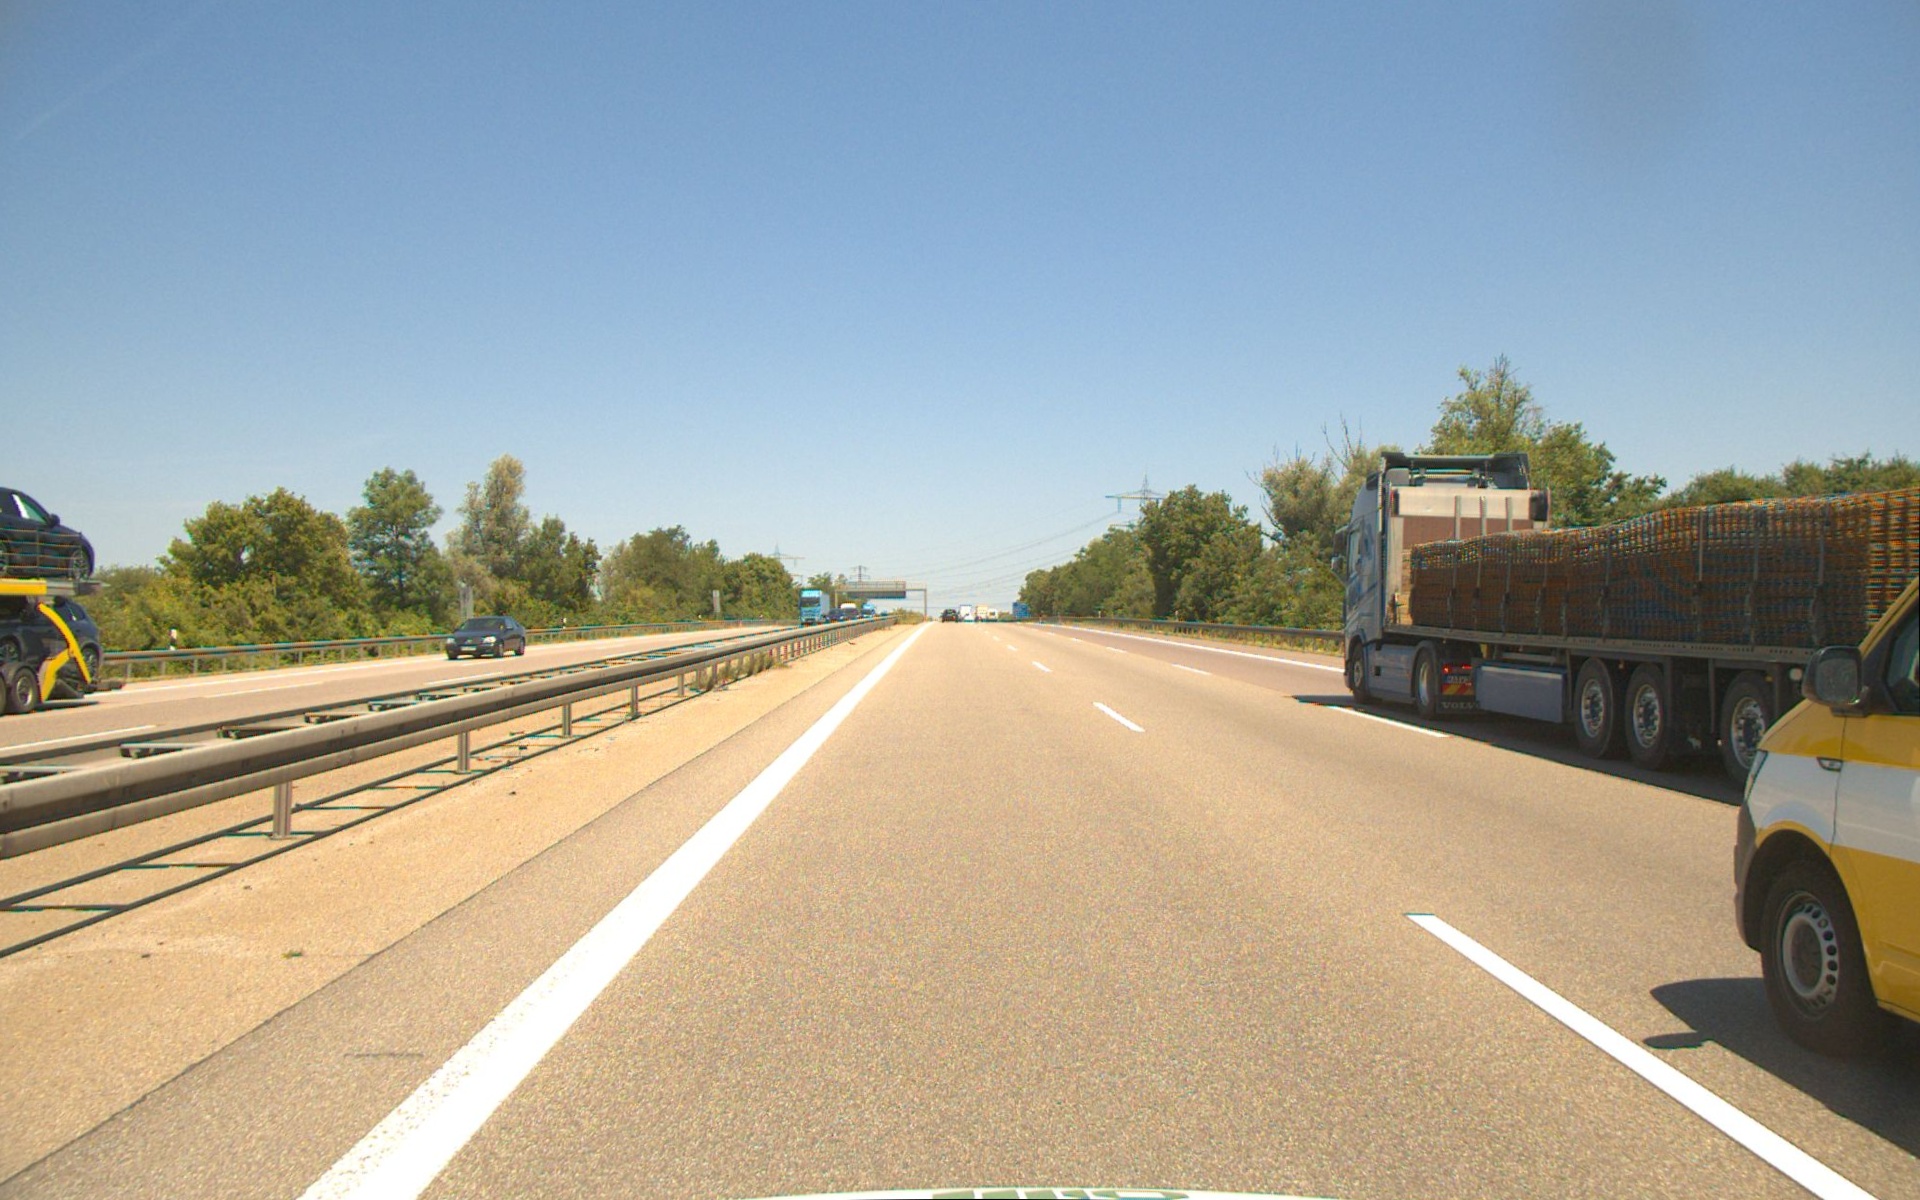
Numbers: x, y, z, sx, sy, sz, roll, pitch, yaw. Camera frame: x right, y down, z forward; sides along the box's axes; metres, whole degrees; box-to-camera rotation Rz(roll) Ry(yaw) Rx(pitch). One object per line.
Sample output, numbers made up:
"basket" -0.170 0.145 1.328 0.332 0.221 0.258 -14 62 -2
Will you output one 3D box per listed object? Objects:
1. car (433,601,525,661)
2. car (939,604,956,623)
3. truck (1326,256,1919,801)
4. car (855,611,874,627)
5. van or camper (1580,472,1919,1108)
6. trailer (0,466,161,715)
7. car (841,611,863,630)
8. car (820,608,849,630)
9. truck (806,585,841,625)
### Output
"car" -16.972 1.074 58.558 1.954 1.904 4.579 -4 0 -2
"car" -1.373 1.486 179.855 1.755 2.049 3.887 1 -1 0
"truck" 8.006 -0.410 20.556 2.909 4.026 16.608 1 -1 -1
"car" -10.998 2.143 190.859 1.953 1.719 4.407 -2 0 -1
"van or camper" 3.912 0.593 5.230 1.953 1.942 4.970 1 0 -1
"trailer" -16.977 -0.110 26.362 2.862 4.037 11.648 -2 0 -1
"car" -10.547 1.997 161.609 1.953 1.719 4.407 -1 0 -1
"car" -10.614 1.590 140.206 1.954 1.632 4.599 -5 0 -1
"truck" -17.236 0.689 210.470 3.161 4.802 16.855 -3 0 -1
